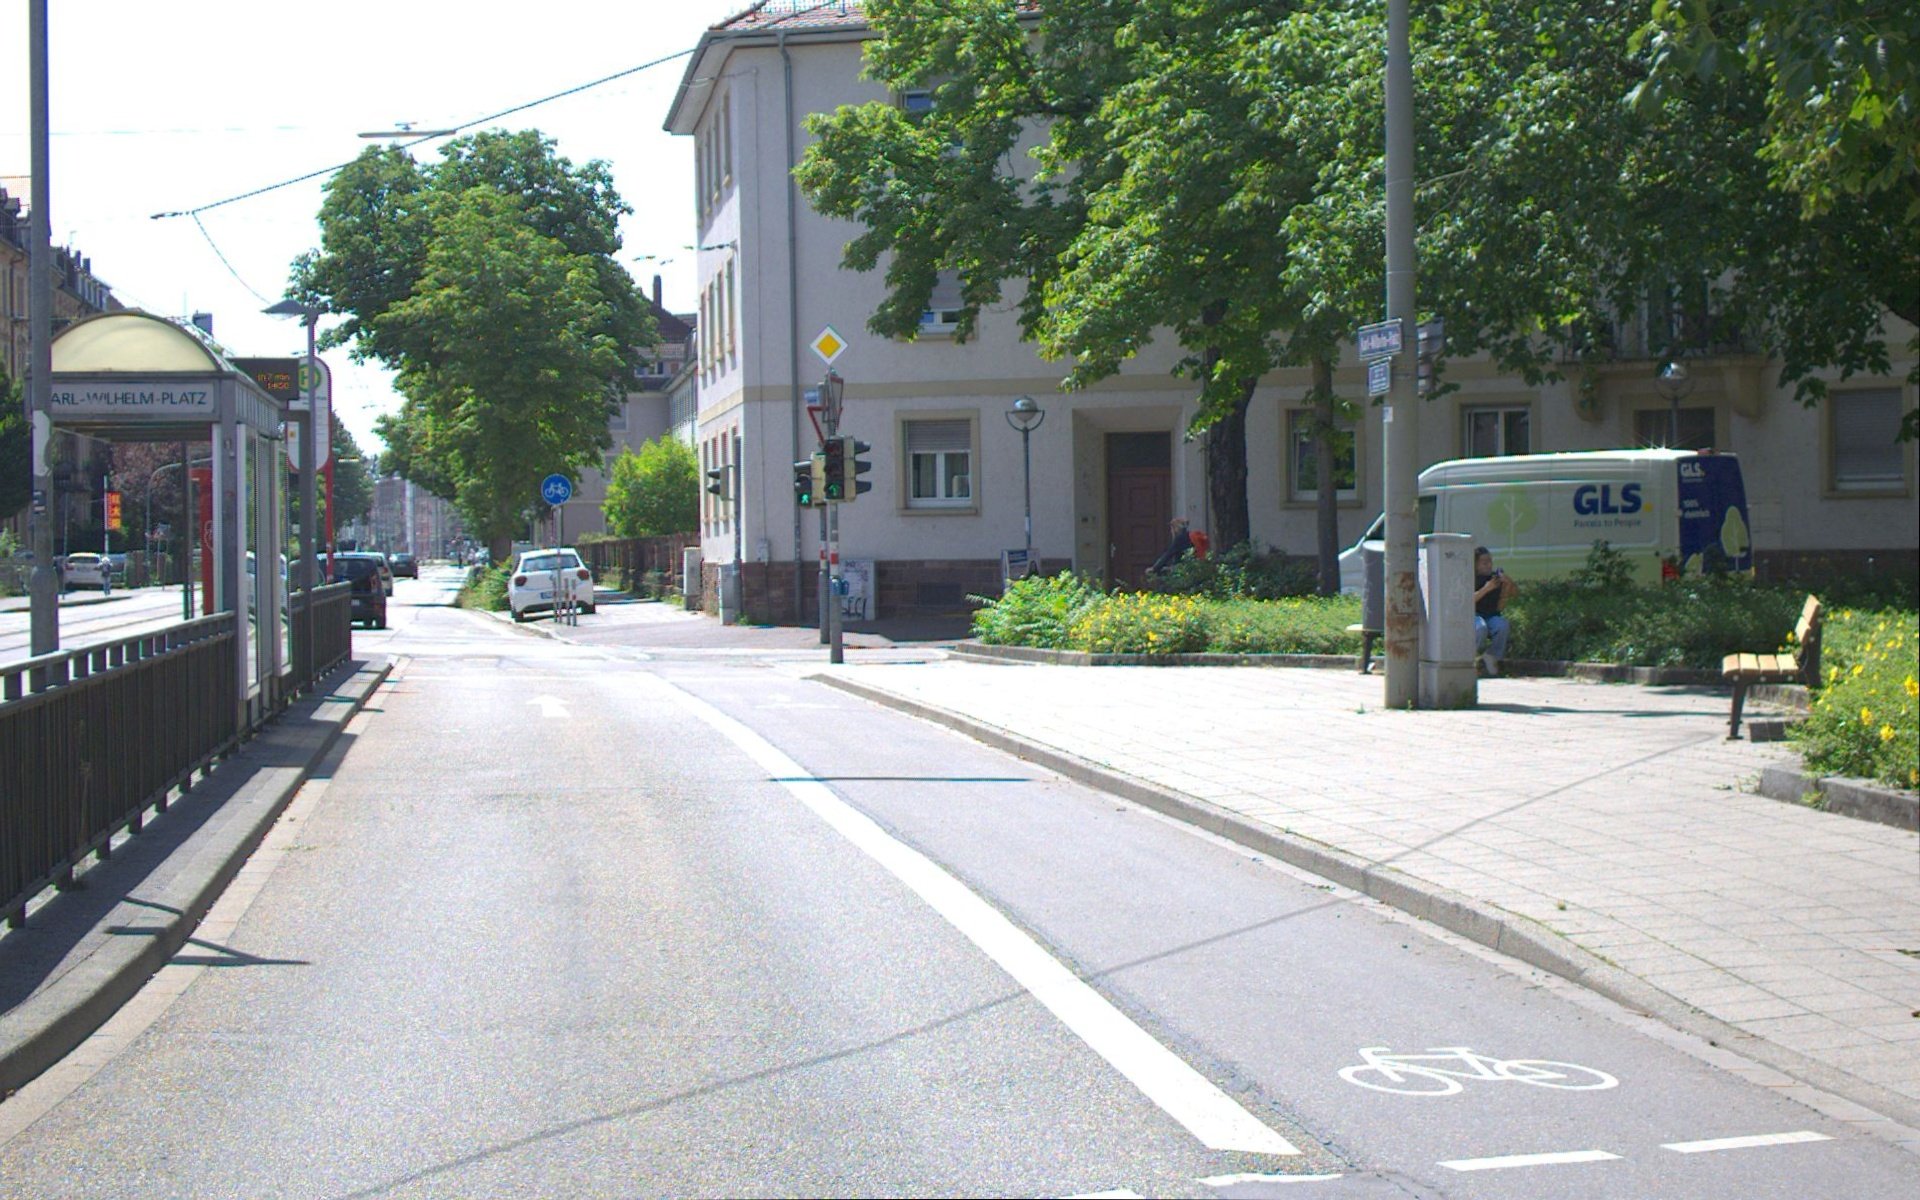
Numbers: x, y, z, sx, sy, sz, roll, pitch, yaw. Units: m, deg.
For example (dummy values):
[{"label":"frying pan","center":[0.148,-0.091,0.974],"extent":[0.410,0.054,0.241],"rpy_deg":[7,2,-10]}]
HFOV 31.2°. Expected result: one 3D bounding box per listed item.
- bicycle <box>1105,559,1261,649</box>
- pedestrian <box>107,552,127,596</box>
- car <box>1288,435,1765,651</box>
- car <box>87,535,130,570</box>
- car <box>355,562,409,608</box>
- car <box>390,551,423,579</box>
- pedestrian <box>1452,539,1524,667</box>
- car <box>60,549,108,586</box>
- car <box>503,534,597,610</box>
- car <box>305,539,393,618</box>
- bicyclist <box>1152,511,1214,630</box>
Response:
[{"label":"bicycle","center":[3.092,0.055,47.703],"extent":[2.083,1.232,0.580],"rpy_deg":[0,0,25]},{"label":"pedestrian","center":[-32.936,-1.001,134.309],"extent":[0.677,1.721,0.677],"rpy_deg":[0,0,-9]},{"label":"car","center":[7.144,-0.725,43.846],"extent":[5.846,2.581,1.995],"rpy_deg":[0,2,42]},{"label":"car","center":[-38.769,-2.158,156.508],"extent":[1.628,1.467,3.565],"rpy_deg":[-4,1,-11]},{"label":"car","center":[-19.310,-0.501,114.929],"extent":[1.747,1.468,3.939],"rpy_deg":[-1,0,-9]},{"label":"car","center":[-31.293,-1.974,194.374],"extent":[1.628,1.467,3.565],"rpy_deg":[-4,1,-11]},{"label":"pedestrian","center":[4.626,0.023,30.146],"extent":[0.509,1.088,0.478],"rpy_deg":[-2,2,-2]},{"label":"car","center":[-37.736,-1.392,148.206],"extent":[1.684,1.467,3.939],"rpy_deg":[-4,1,-11]},{"label":"car","center":[-8.758,-0.583,73.211],"extent":[1.747,1.467,3.939],"rpy_deg":[-4,1,-9]},{"label":"car","center":[-11.912,-0.418,67.189],"extent":[1.524,1.439,3.365],"rpy_deg":[-2,0,-8]},{"label":"bicyclist","center":[3.096,-0.411,47.722],"extent":[0.694,1.640,0.579],"rpy_deg":[0,0,25]}]
